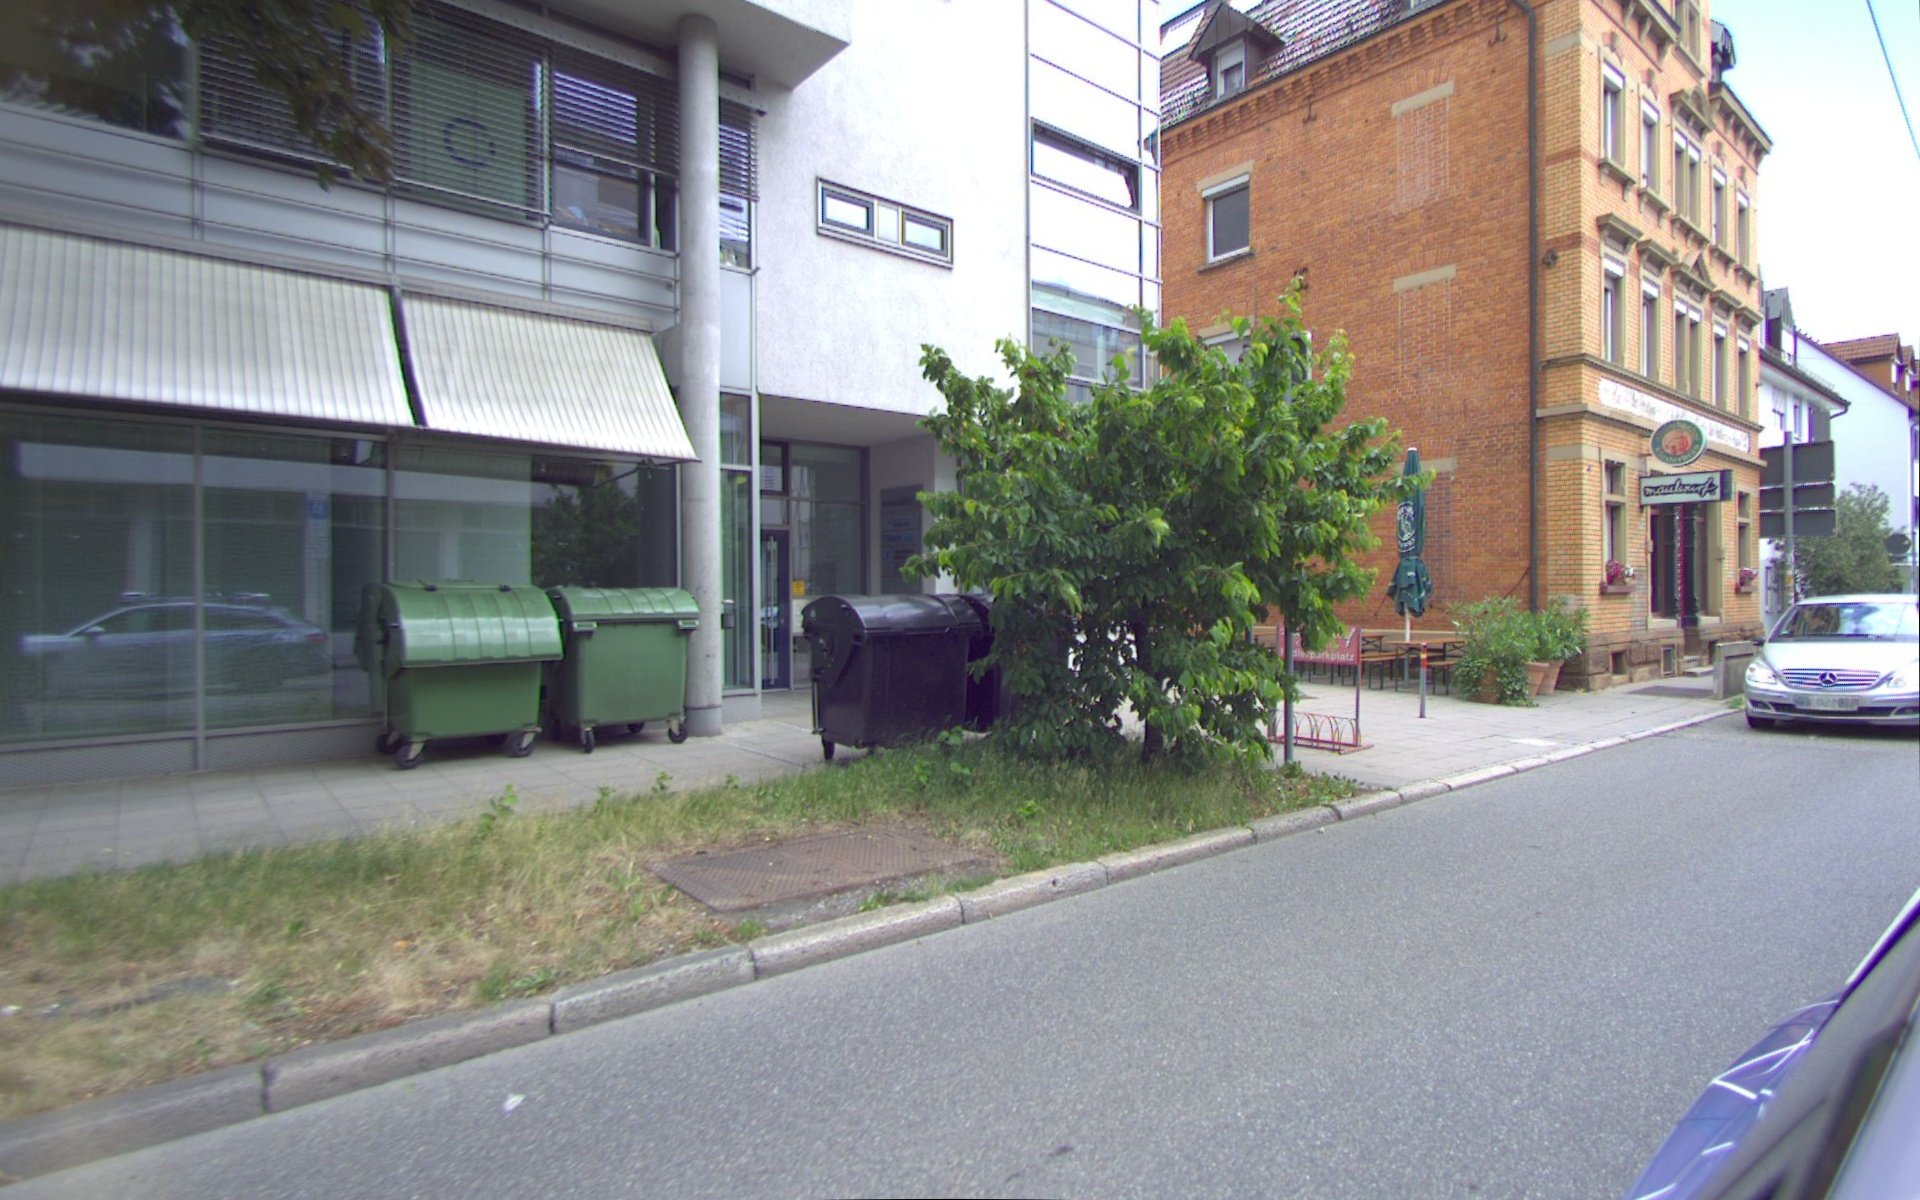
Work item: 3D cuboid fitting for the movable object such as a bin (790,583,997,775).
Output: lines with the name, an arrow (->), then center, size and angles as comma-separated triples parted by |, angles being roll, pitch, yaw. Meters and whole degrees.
movable object such as a bin -> -0.572, 0.602, 8.769 | 1.388, 1.484, 1.129 | 0, 2, -41

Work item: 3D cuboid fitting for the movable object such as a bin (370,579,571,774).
movable object such as a bin -> -4.181, 0.575, 8.638 | 1.310, 1.484, 1.100 | 0, 2, -41

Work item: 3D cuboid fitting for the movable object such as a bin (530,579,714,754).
movable object such as a bin -> -3.183, 0.557, 9.528 | 1.310, 1.484, 1.124 | 0, 2, -41

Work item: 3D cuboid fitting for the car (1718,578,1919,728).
car -> 11.310, 0.560, 12.579 | 4.490, 1.566, 1.997 | 0, -2, -40

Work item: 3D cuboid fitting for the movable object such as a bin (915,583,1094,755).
movable object such as a bin -> 0.424, 0.589, 9.679 | 1.310, 1.484, 1.100 | 0, 2, -41

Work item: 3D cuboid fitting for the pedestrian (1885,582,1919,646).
pedestrian -> 26.167, 0.379, 28.086 | 0.638, 1.752, 0.689 | 0, 0, -41
